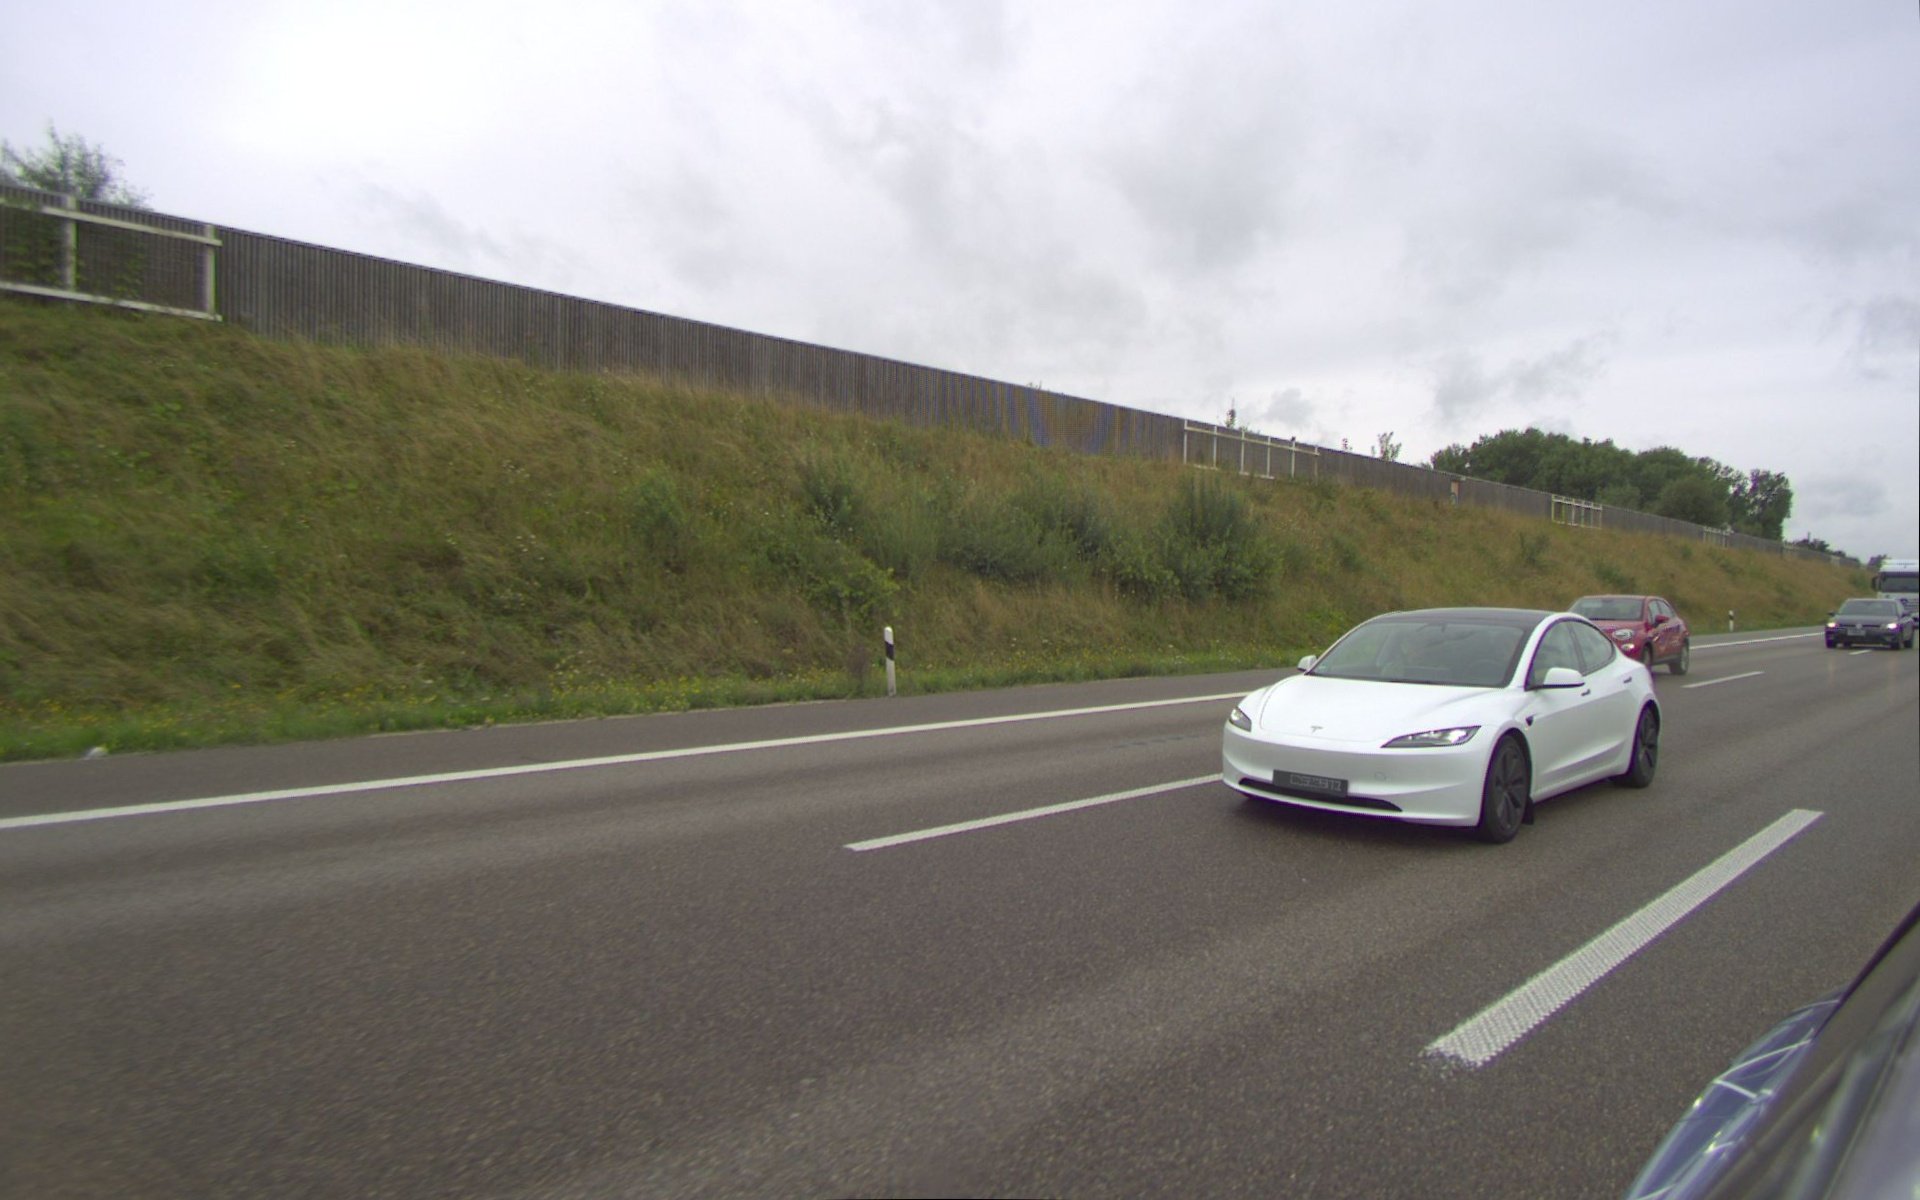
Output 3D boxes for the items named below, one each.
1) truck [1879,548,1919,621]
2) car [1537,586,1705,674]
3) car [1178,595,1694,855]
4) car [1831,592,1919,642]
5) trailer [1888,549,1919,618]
[{"bbox_3d":[56.448,-0.913,59.404,6.838,4.077,3.085,-1,0,-42],"label":"truck"},{"bbox_3d":[13.179,0.513,20.101,3.932,1.554,1.876,-1,0,-42],"label":"car"},{"bbox_3d":[3.879,0.669,7.783,4.729,1.380,1.876,-1,1,-41],"label":"car"},{"bbox_3d":[30.137,0.493,33.024,4.406,1.508,1.928,-1,0,-40],"label":"car"},{"bbox_3d":[62.301,-1.040,64.675,14.963,4.077,3.085,-1,0,-42],"label":"trailer"}]
